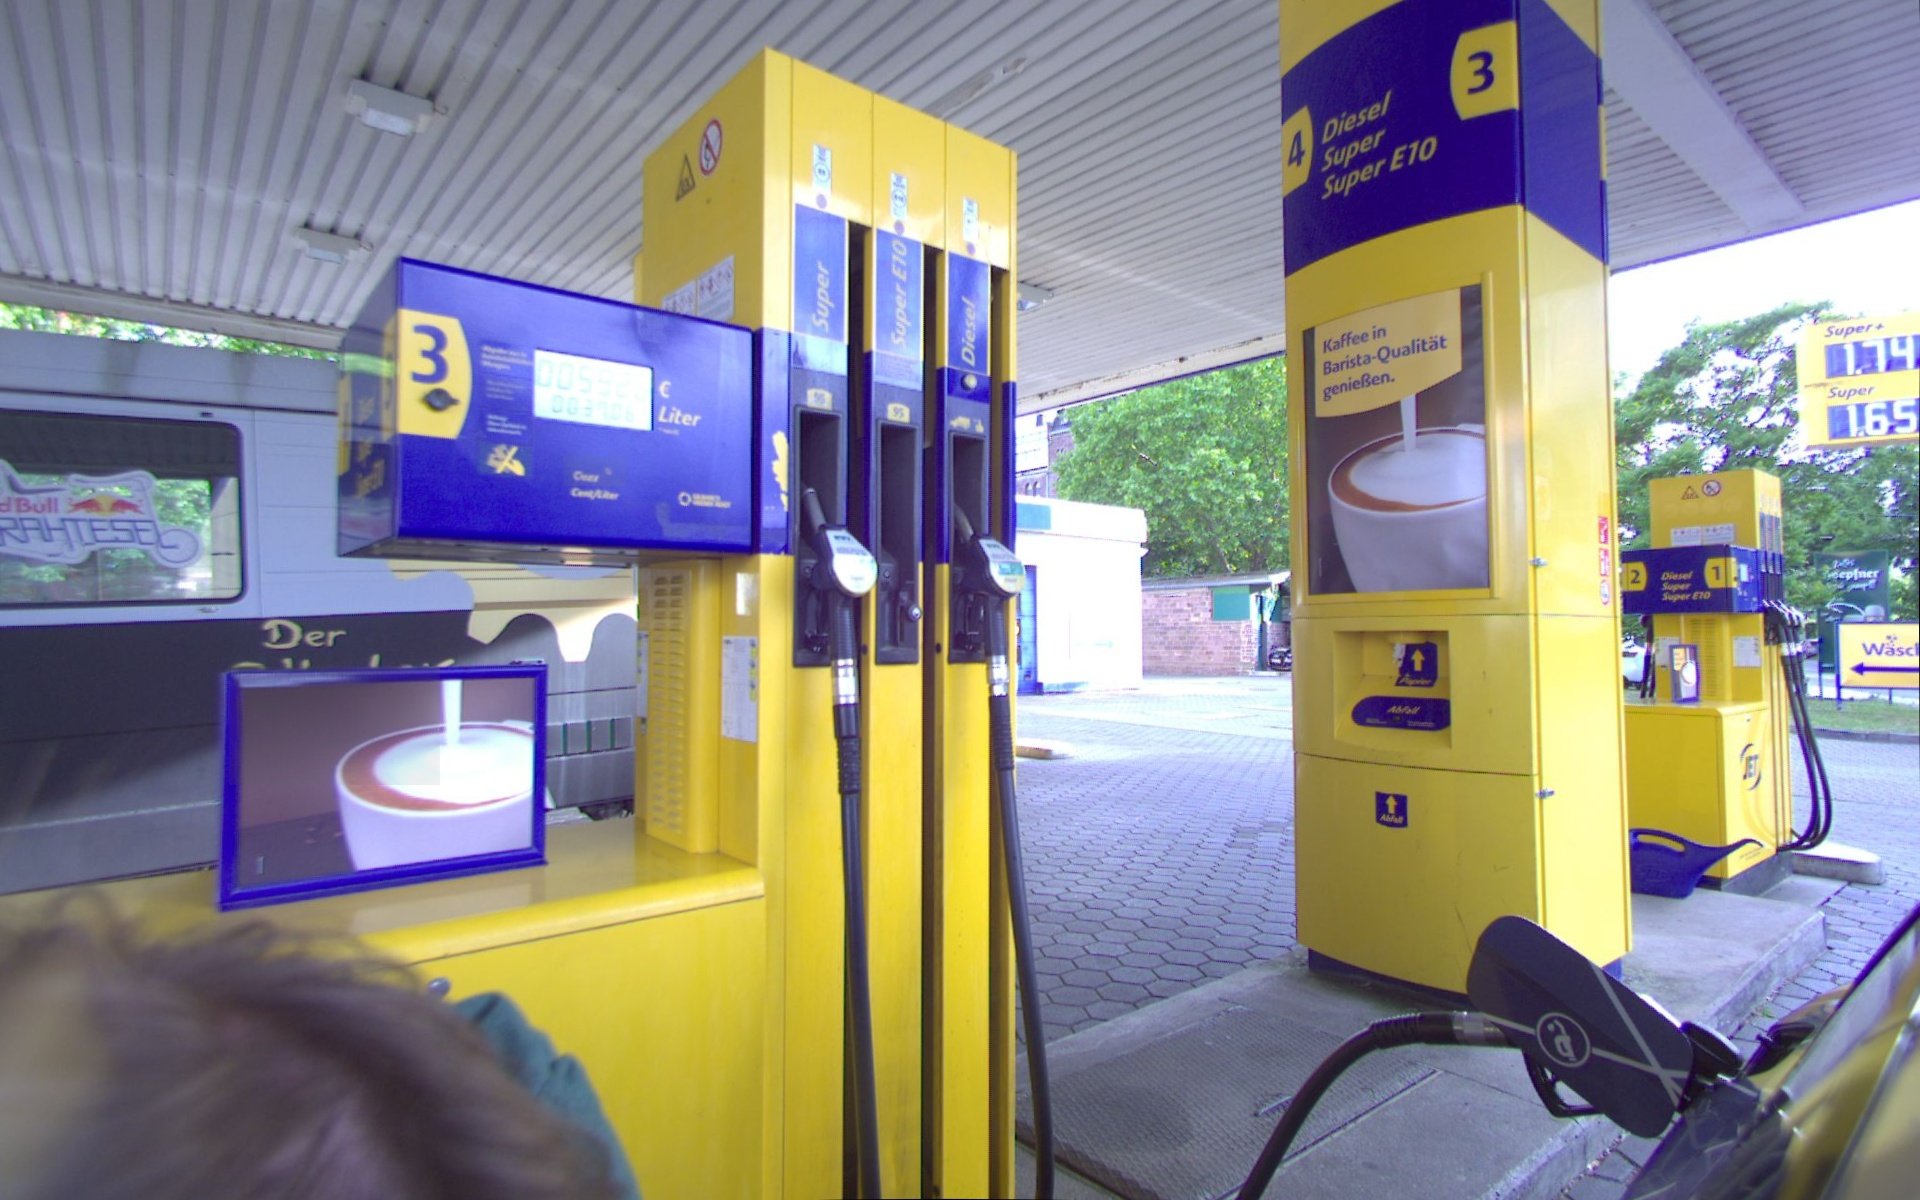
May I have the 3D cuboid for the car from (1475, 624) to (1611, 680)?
[{"bbox_3d":[17.778,1.577,30.848,4.112,1.606,1.826,2,-3,-31],"label":"car"}]

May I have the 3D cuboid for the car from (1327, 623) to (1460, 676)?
[{"bbox_3d":[13.789,1.568,32.167,4.112,1.606,1.826,2,-3,-31],"label":"car"}]

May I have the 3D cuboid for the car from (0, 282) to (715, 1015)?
[{"bbox_3d":[-4.091,0.191,4.853,5.248,2.760,2.201,0,-1,-39],"label":"car"}]

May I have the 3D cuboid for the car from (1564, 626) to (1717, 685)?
[{"bbox_3d":[18.261,1.485,27.132,4.112,1.478,1.826,2,-3,-31],"label":"car"}]

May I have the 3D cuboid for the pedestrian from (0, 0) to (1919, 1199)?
[{"bbox_3d":[-0.324,0.524,0.564,0.975,1.750,1.182,-2,1,-36],"label":"pedestrian"}]

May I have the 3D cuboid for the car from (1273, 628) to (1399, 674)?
[{"bbox_3d":[12.650,1.699,34.030,4.112,1.453,1.826,2,-3,-31],"label":"car"}]
